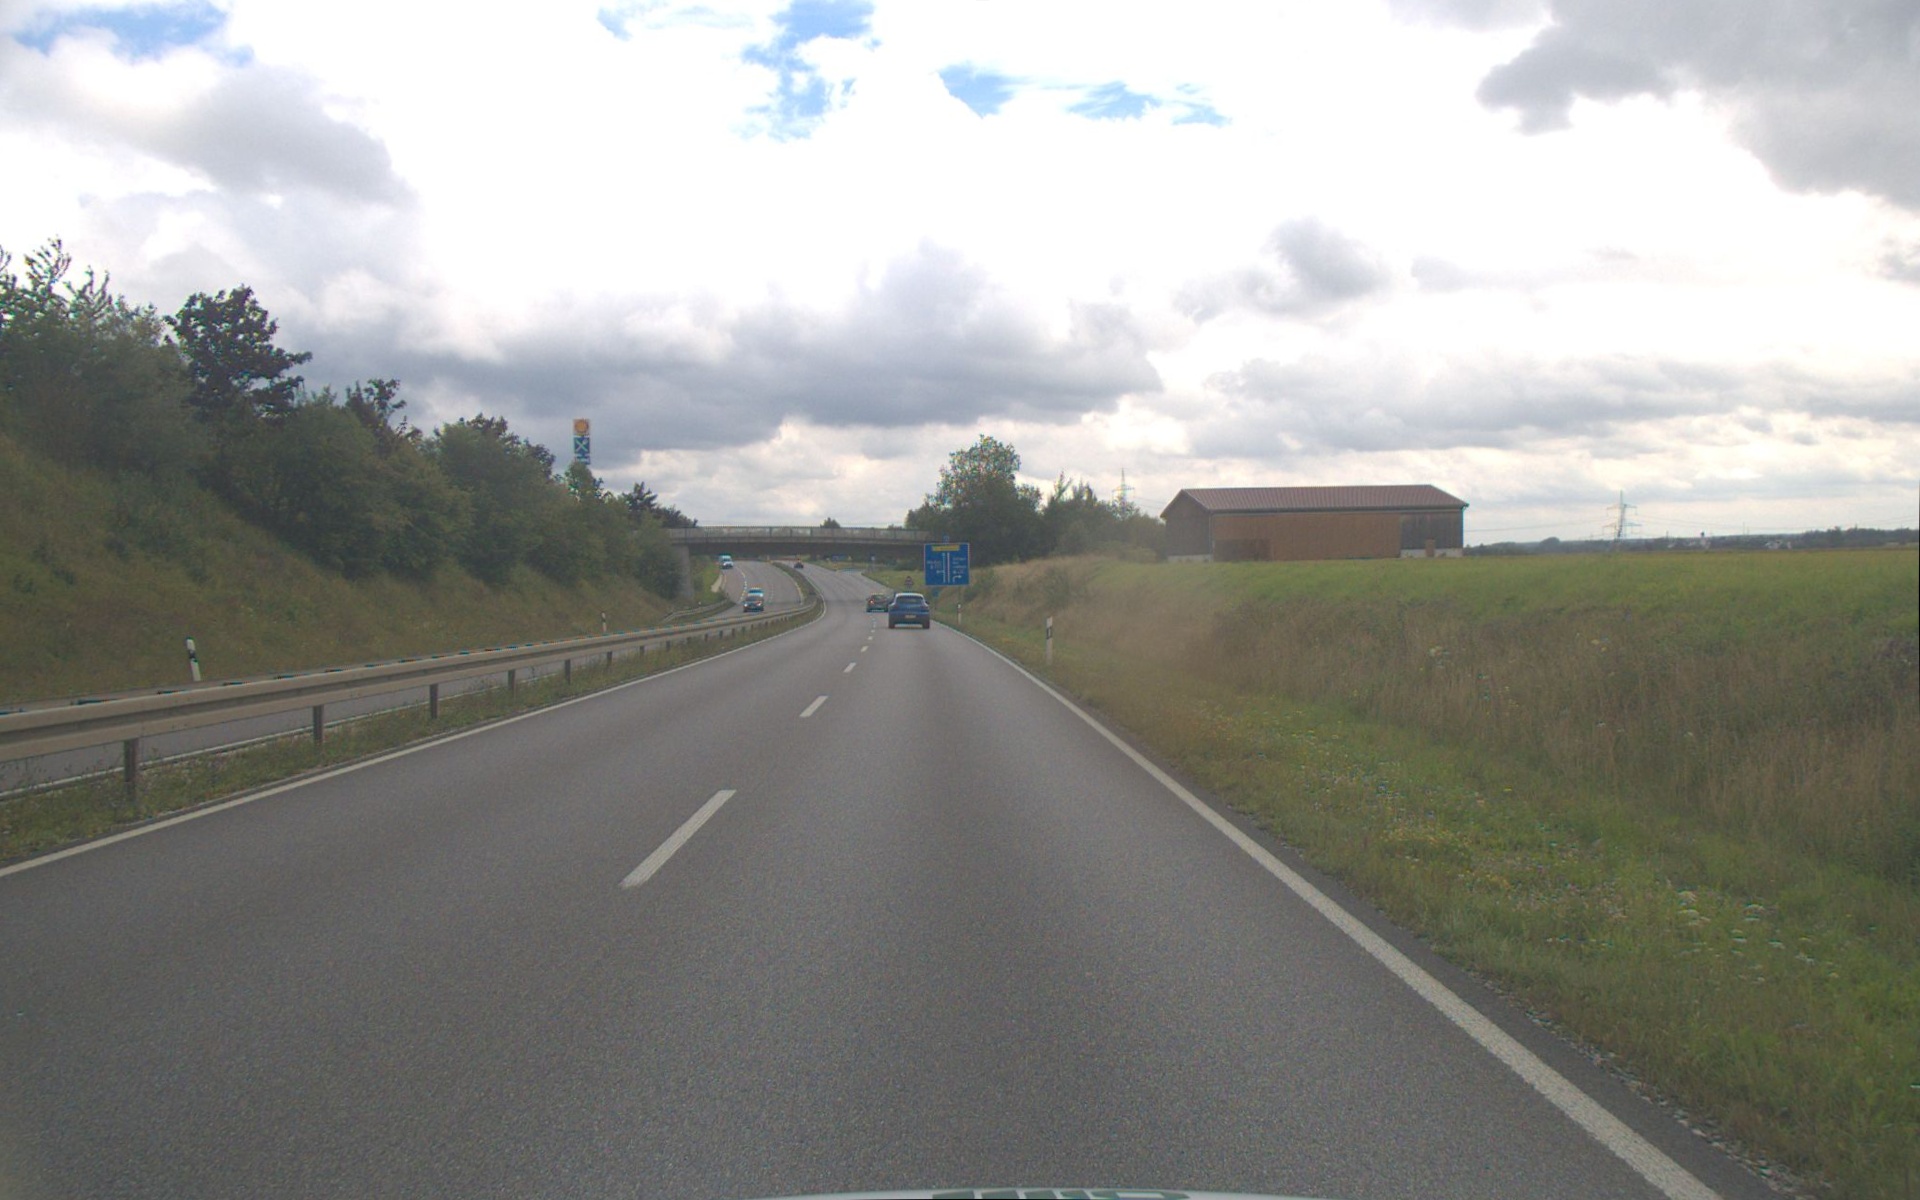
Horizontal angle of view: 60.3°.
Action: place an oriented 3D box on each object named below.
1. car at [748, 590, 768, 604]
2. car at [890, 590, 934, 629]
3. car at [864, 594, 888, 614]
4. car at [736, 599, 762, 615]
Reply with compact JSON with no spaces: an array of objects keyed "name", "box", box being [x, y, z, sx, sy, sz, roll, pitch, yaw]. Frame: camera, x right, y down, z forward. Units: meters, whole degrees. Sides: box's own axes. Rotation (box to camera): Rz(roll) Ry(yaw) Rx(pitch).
[{"name":"car","box":[-22.808,-0.389,186.929,1.954,1.478,3.998,-1,1,-3]},{"name":"car","box":[-2.254,0.412,77.796,1.992,1.689,4.542,0,2,-2]},{"name":"car","box":[-6.947,0.346,136.713,1.880,1.478,4.360,-1,1,-5]},{"name":"car","box":[-19.050,0.593,149.360,1.954,1.327,4.820,-1,1,-2]}]
